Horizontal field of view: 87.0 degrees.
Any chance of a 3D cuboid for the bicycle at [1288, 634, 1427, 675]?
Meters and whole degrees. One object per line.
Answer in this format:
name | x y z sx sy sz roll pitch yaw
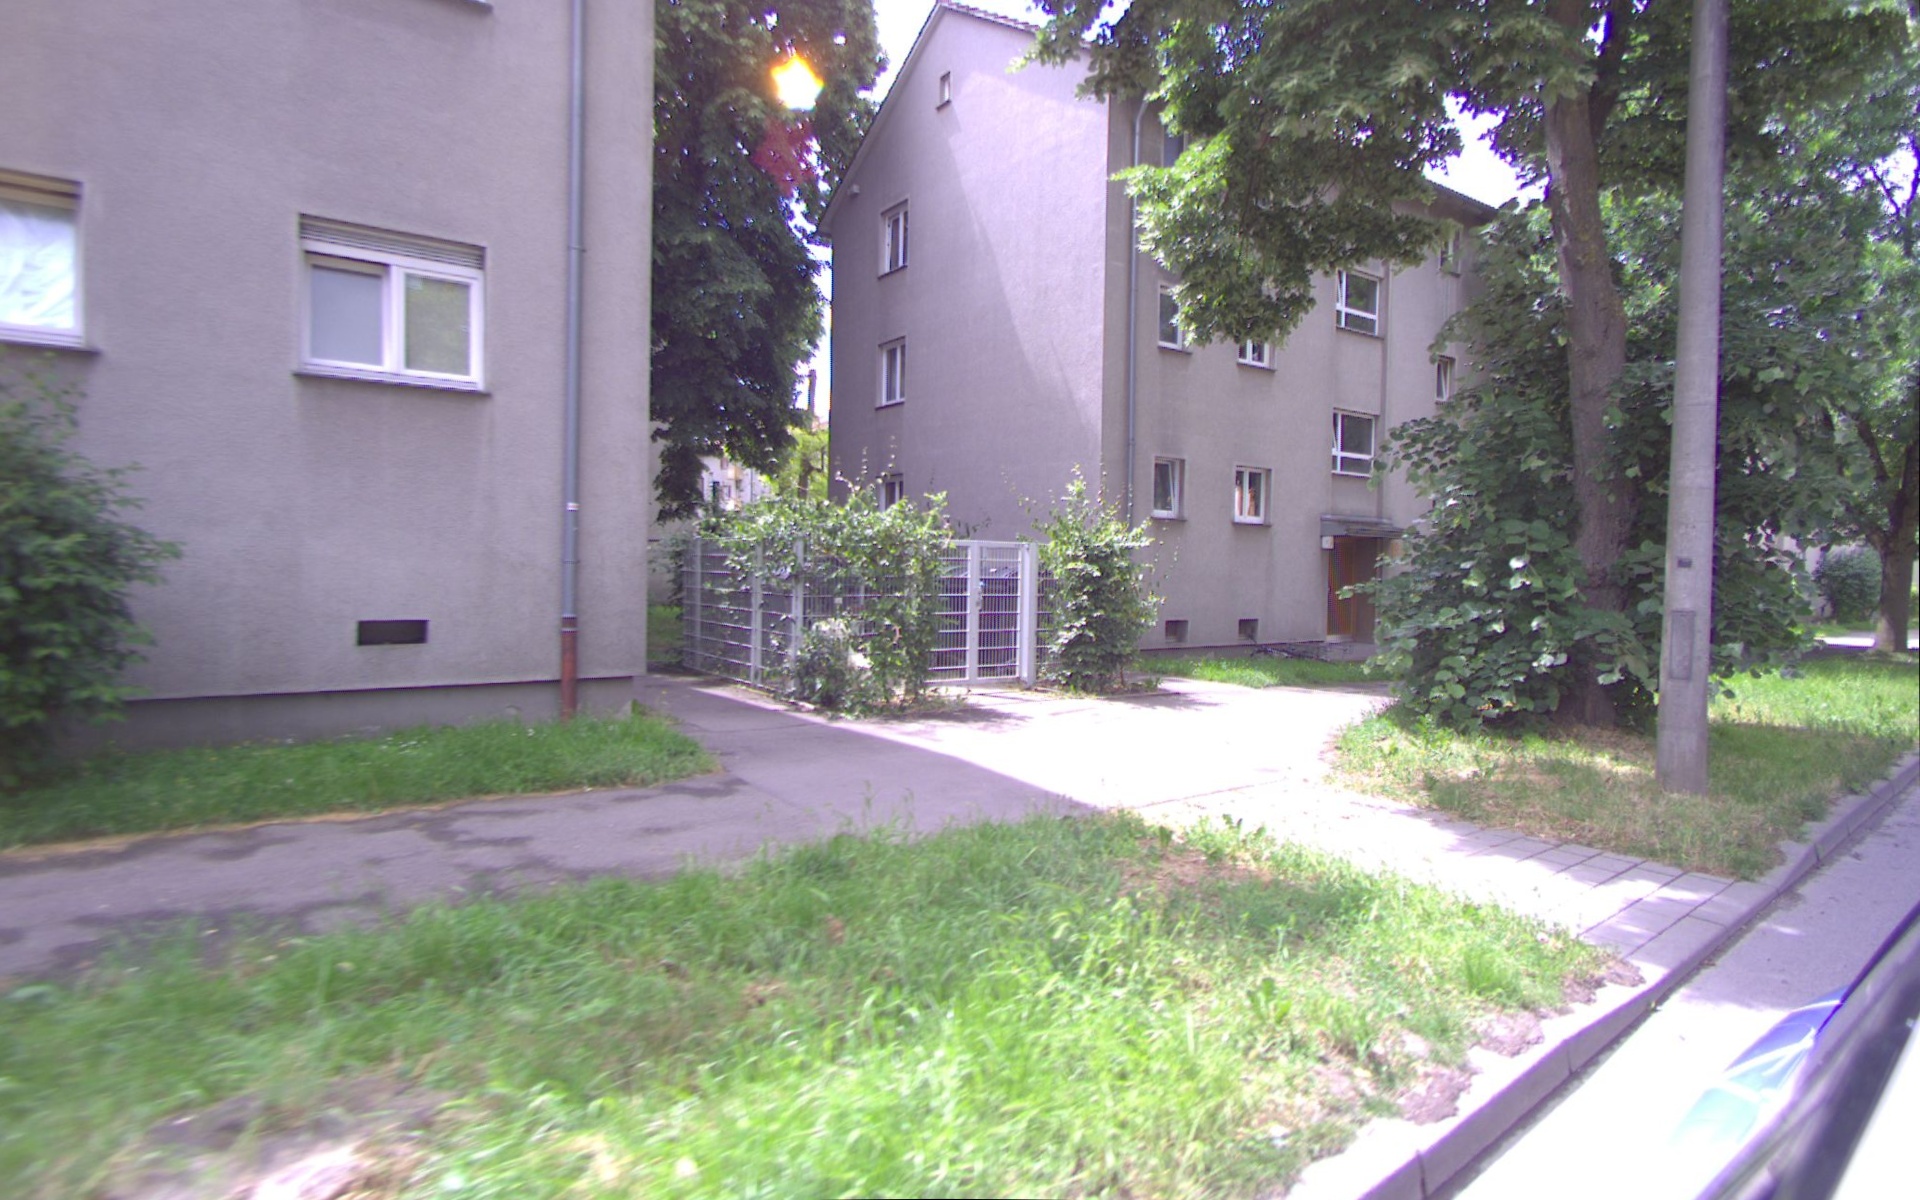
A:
bicycle | 6.460 0.873 16.588 0.659 0.514 2.214 -1 1 -29
